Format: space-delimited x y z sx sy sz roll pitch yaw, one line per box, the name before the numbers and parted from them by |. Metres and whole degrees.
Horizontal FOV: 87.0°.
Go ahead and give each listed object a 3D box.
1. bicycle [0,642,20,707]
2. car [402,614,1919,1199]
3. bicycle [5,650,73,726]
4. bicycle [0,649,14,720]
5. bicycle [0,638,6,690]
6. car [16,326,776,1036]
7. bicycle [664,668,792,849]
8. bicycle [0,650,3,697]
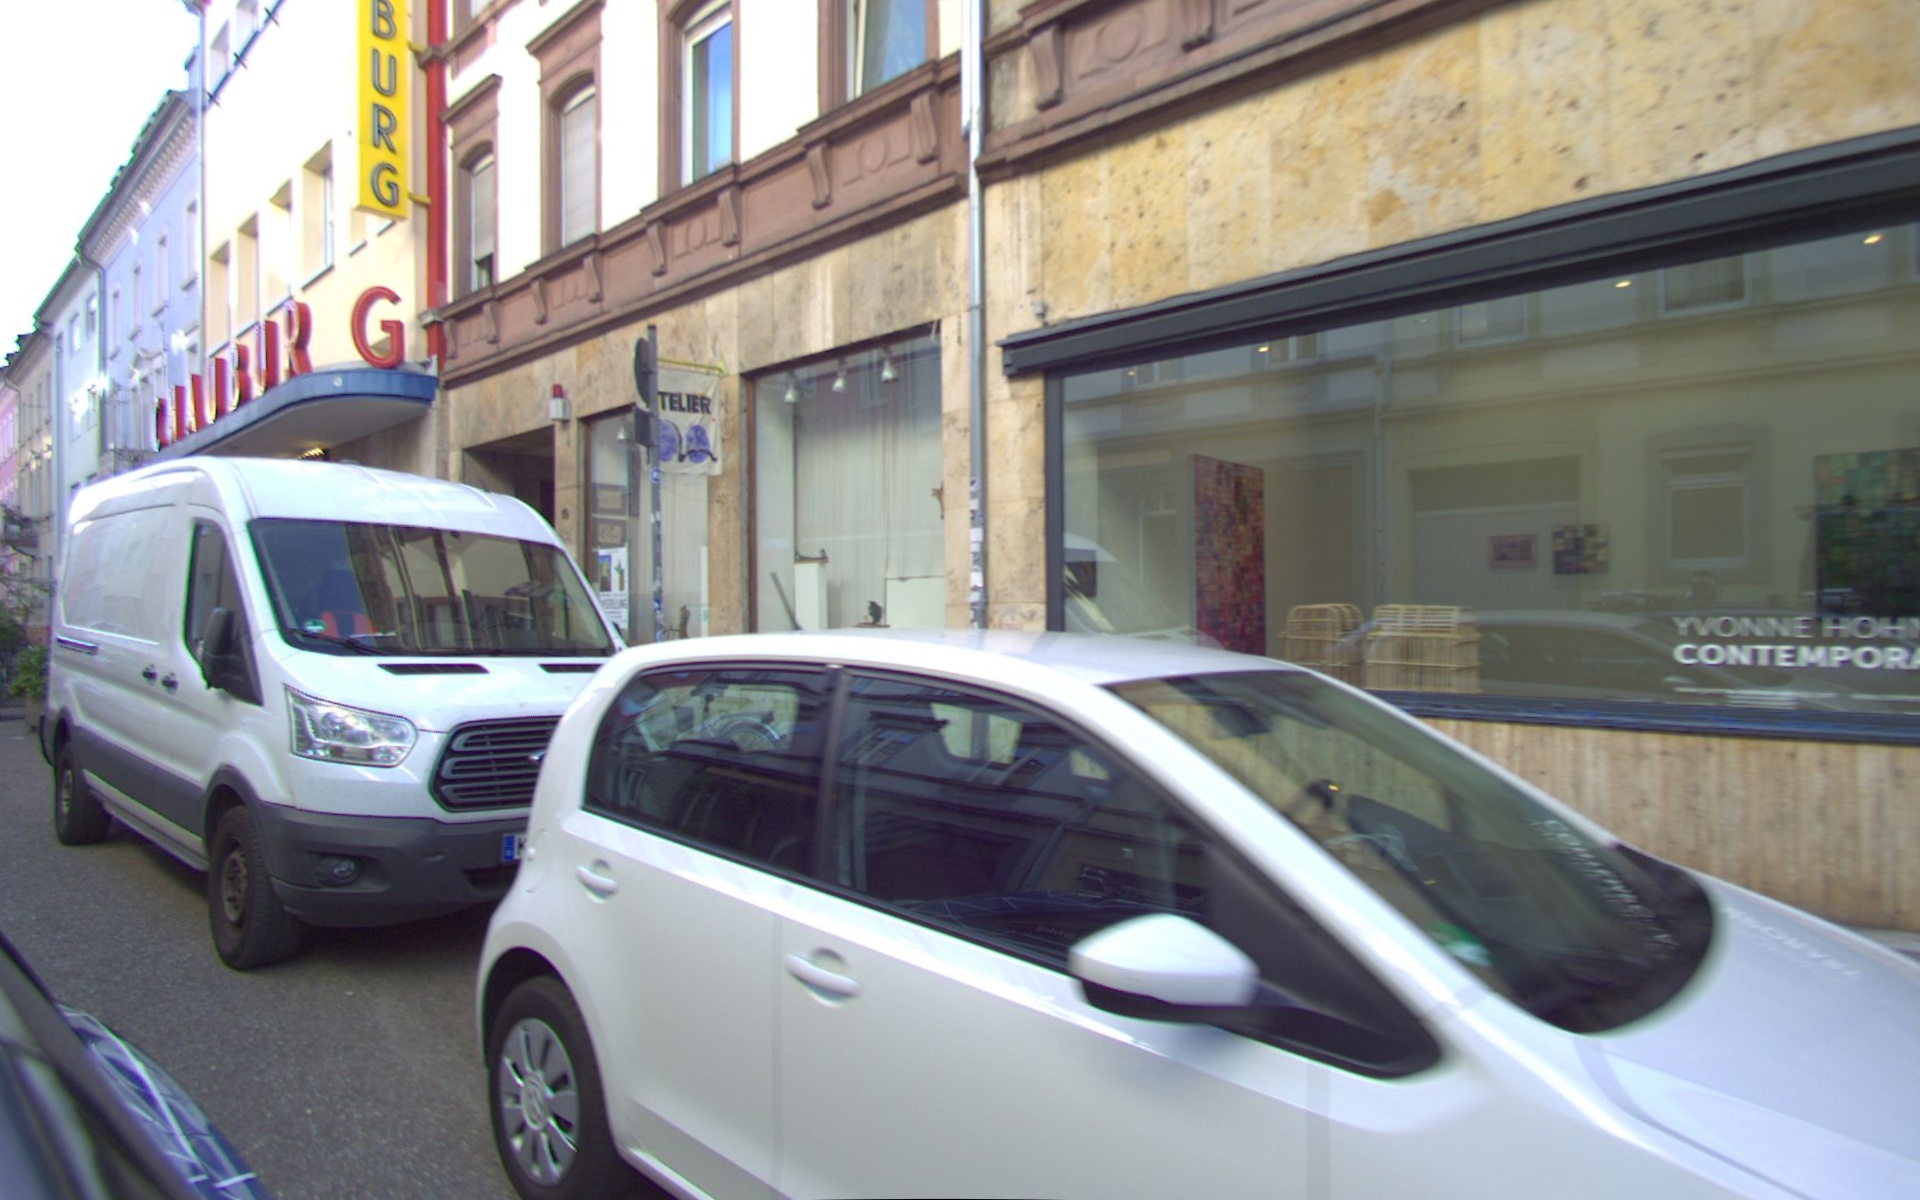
bicycle | -17.547 1.336 18.275 1.879 1.102 0.541 -1 0 38
car | 0.357 0.776 2.349 3.836 1.458 1.629 -1 -2 40
bicycle | -13.991 1.312 15.361 1.862 1.055 0.438 -1 0 38
bicycle | -15.252 1.299 15.536 1.740 1.055 0.458 -1 0 26
bicycle | -22.336 1.463 23.023 0.919 1.184 0.805 -1 -1 39
car | -3.888 0.352 6.274 5.917 2.471 2.146 -1 -3 40
bicycle | -1.448 0.956 6.282 0.844 1.044 0.220 -1 -1 31
bicycle | -20.386 1.515 21.068 1.571 0.951 0.548 -1 -2 42
